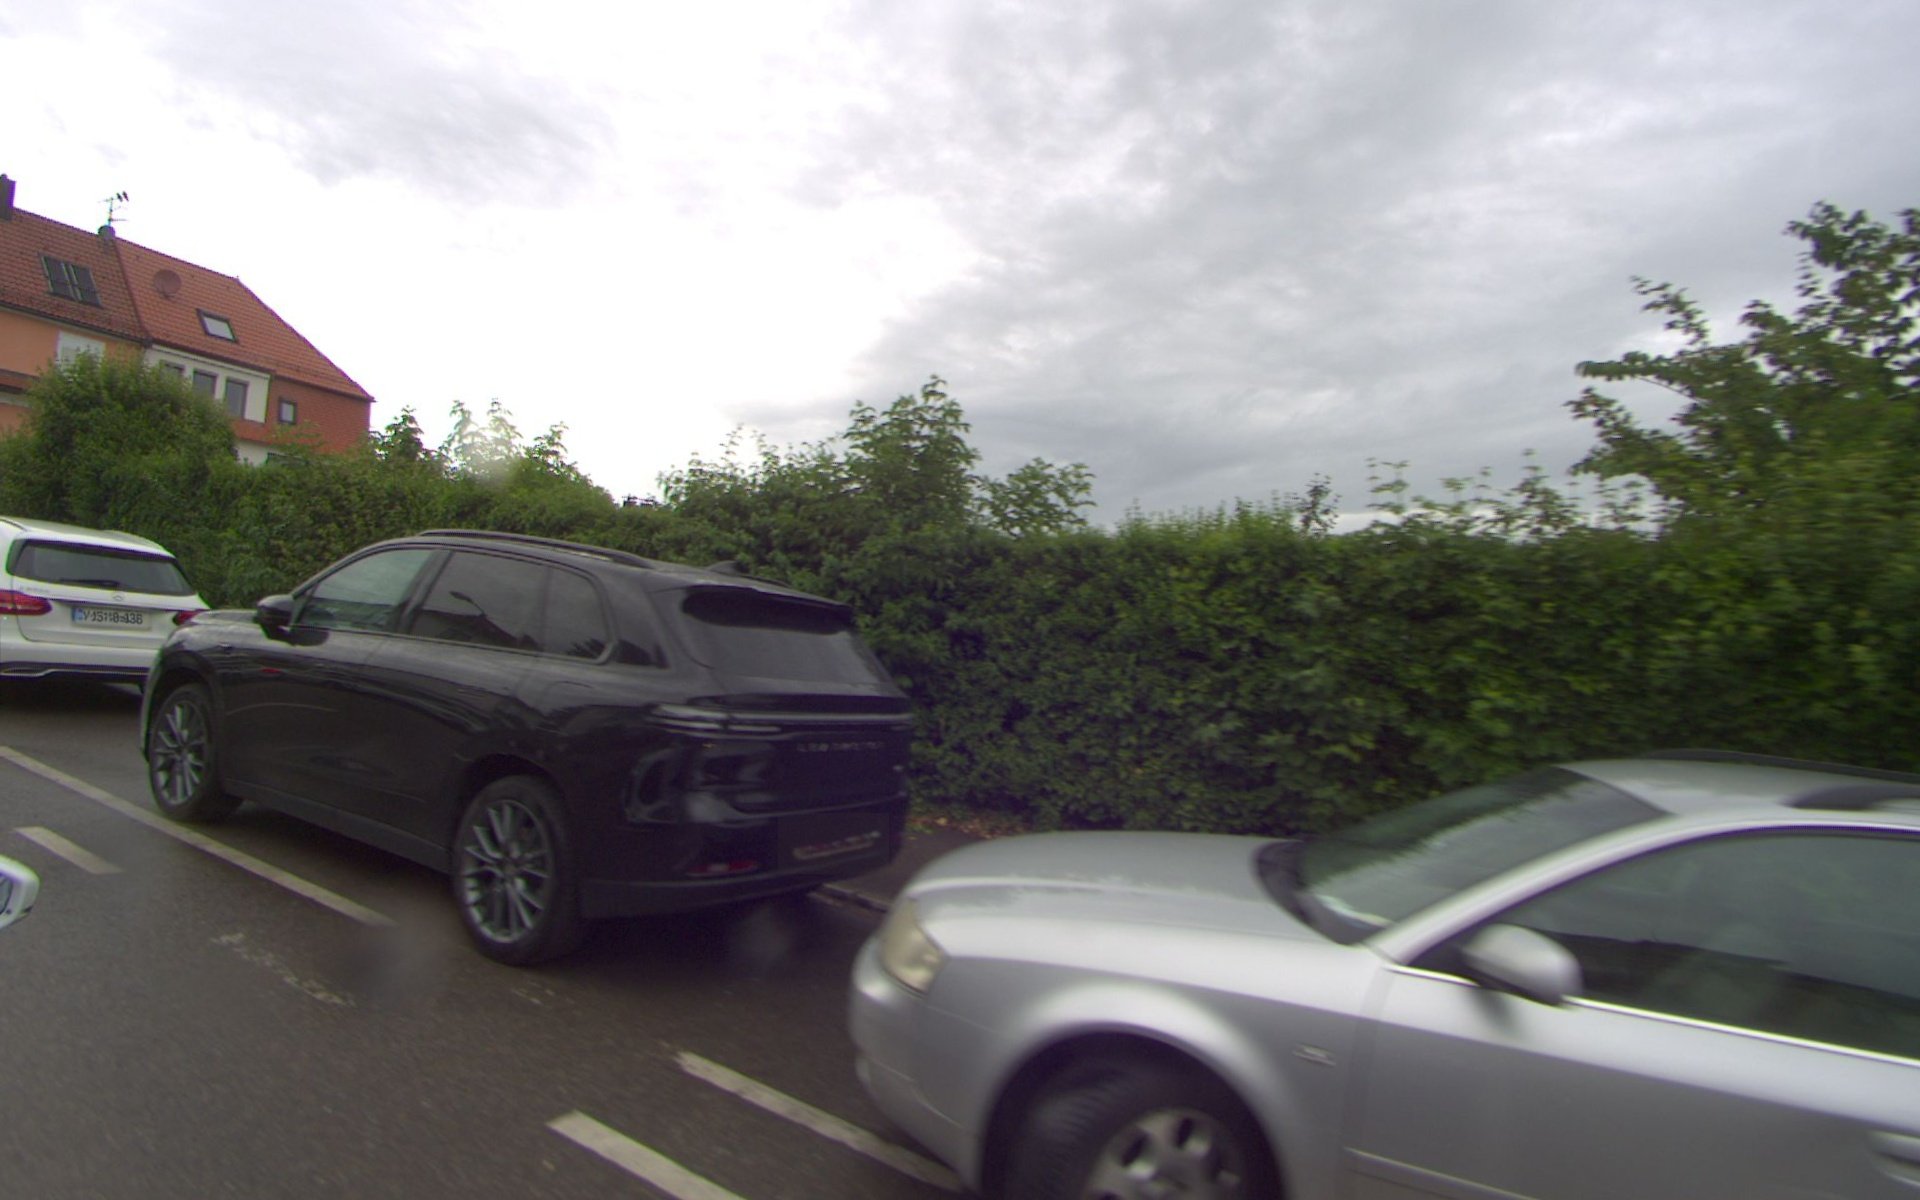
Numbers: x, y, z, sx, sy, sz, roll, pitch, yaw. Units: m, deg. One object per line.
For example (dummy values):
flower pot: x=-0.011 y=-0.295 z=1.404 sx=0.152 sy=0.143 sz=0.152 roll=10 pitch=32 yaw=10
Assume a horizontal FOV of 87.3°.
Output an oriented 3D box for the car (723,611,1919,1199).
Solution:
car: x=1.930 y=1.102 z=2.646 sx=4.554 sy=1.457 sz=1.807 roll=8 pitch=-1 yaw=17

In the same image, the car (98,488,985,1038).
car: x=-2.361 y=0.534 z=5.383 sx=4.471 sy=1.681 sz=1.892 roll=7 pitch=-2 yaw=30

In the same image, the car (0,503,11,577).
car: x=-13.112 y=-0.606 z=11.740 sx=4.135 sy=1.547 sz=1.758 roll=6 pitch=-2 yaw=31

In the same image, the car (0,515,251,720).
car: x=-8.522 y=-0.007 z=9.021 sx=4.530 sy=1.421 sz=1.717 roll=7 pitch=-2 yaw=31
